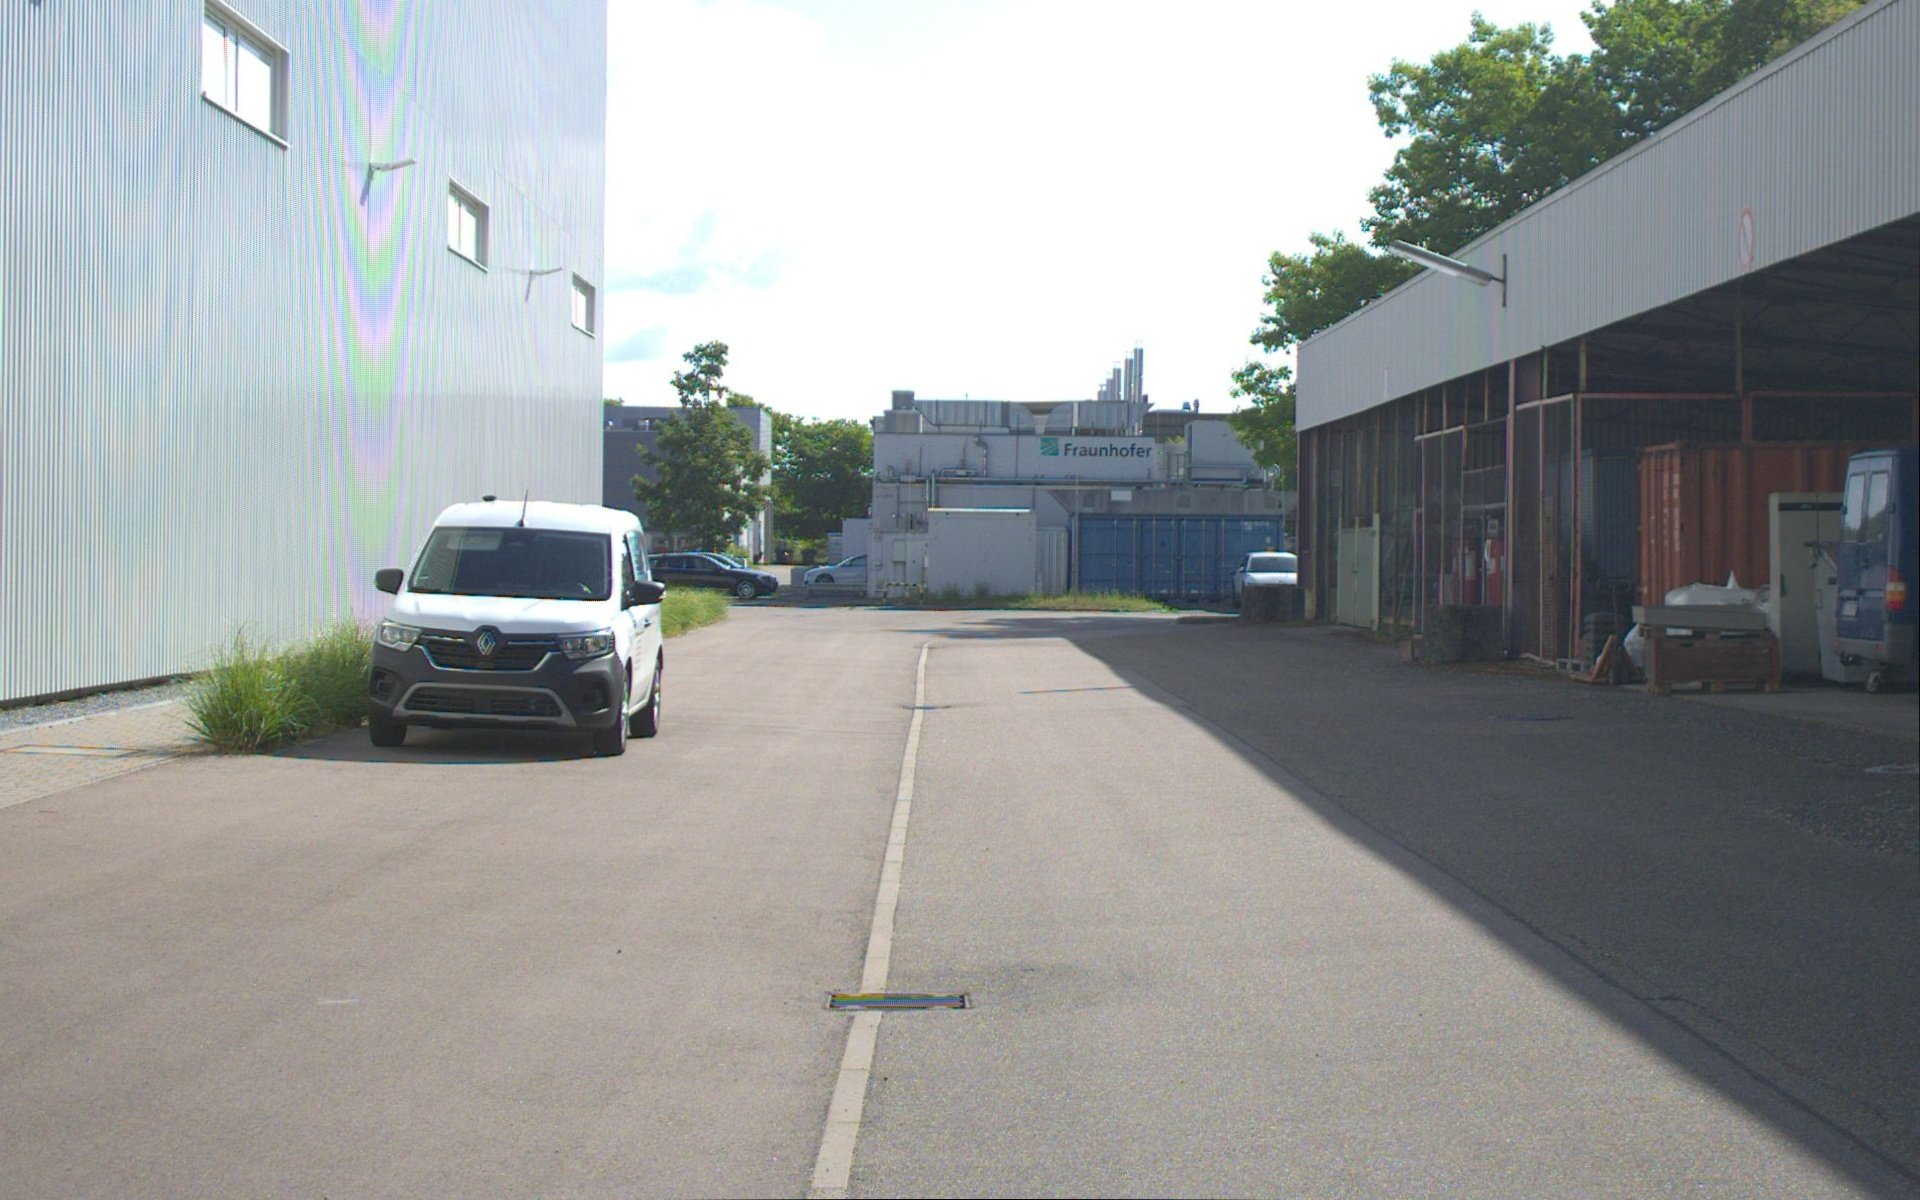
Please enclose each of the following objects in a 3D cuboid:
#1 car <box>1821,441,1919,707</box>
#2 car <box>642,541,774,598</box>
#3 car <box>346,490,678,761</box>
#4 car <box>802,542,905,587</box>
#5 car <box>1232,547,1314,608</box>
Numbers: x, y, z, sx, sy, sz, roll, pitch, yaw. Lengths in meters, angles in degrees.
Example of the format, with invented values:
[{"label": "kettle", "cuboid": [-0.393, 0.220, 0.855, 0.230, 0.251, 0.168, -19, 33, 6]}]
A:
[{"label": "car", "cuboid": [10.211, -0.133, 30.836, 4.433, 2.302, 1.915, 2, -1, 1]}, {"label": "car", "cuboid": [-7.896, -0.943, 107.802, 3.987, 1.592, 1.742, 2, -1, -1]}, {"label": "car", "cuboid": [-3.226, 0.128, 25.567, 1.818, 1.781, 4.405, 2, 1, 0]}, {"label": "car", "cuboid": [-4.191, -1.388, 135.666, 3.987, 1.592, 1.848, 2, -1, -1]}, {"label": "car", "cuboid": [8.661, -0.645, 95.319, 1.962, 1.559, 4.059, 2, 1, 2]}]
